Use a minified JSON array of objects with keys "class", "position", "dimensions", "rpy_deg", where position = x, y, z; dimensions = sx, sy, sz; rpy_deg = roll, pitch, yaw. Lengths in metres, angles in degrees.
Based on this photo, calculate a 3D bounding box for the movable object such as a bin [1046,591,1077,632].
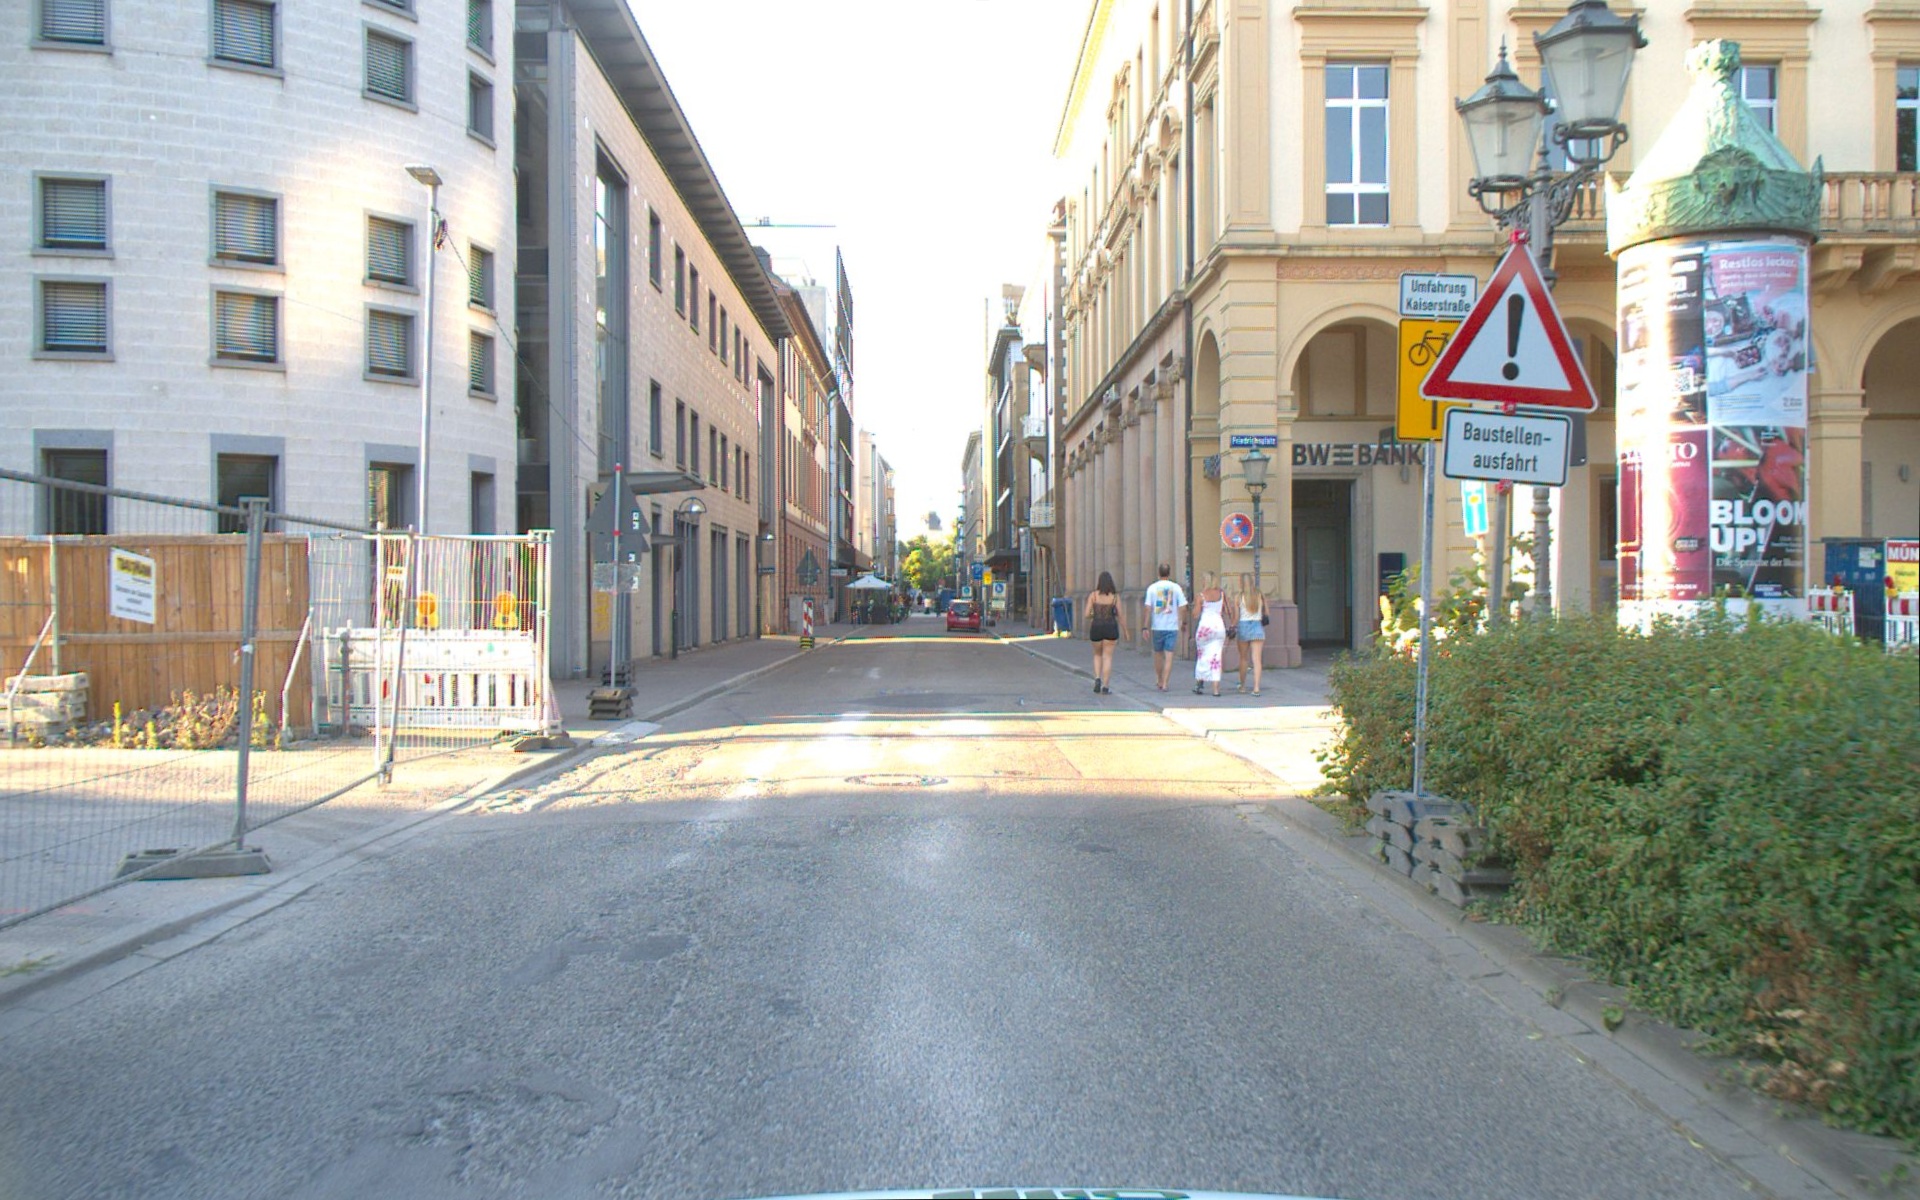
[{"class":"movable object such as a bin","position":[3.606,0.415,58.652],"dimensions":[0.970,1.416,1.240],"rpy_deg":[-1,0,-2]}]

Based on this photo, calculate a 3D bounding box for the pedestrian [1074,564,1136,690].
[{"class":"pedestrian","position":[2.094,0.388,23.959],"dimensions":[0.760,1.777,0.874],"rpy_deg":[-1,0,-2]}]

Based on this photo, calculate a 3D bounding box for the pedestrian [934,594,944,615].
[{"class":"pedestrian","position":[-1.746,0.390,136.190],"dimensions":[0.848,1.743,0.852],"rpy_deg":[0,0,-1]}]

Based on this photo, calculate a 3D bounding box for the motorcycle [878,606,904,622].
[{"class":"motorcycle","position":[-4.635,0.935,111.114],"dimensions":[1.766,1.059,0.493],"rpy_deg":[0,0,-6]}]

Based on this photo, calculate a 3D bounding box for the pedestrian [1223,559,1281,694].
[{"class":"pedestrian","position":[4.056,0.366,23.041],"dimensions":[0.623,1.835,0.771],"rpy_deg":[-1,0,-2]}]

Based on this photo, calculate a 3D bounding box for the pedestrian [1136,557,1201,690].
[{"class":"pedestrian","position":[3.057,0.345,24.335],"dimensions":[0.795,1.908,0.874],"rpy_deg":[-1,0,-2]}]

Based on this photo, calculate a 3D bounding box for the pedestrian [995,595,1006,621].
[{"class":"pedestrian","position":[2.398,0.471,97.545],"dimensions":[0.643,1.514,0.493],"rpy_deg":[-1,0,1]}]

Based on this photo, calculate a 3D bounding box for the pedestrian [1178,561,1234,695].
[{"class":"pedestrian","position":[3.416,0.383,23.012],"dimensions":[0.623,1.835,0.771],"rpy_deg":[-1,0,-2]}]

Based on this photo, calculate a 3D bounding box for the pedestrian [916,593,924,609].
[{"class":"pedestrian","position":[-4.216,0.080,174.463],"dimensions":[0.788,1.702,0.888],"rpy_deg":[0,0,1]}]

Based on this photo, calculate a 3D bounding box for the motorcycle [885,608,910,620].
[{"class":"motorcycle","position":[-4.519,1.019,119.298],"dimensions":[1.766,0.891,0.560],"rpy_deg":[0,0,-6]}]

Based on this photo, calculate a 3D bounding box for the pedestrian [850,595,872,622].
[{"class":"pedestrian","position":[-5.691,0.495,95.078],"dimensions":[1.265,1.514,0.661],"rpy_deg":[0,0,-3]}]

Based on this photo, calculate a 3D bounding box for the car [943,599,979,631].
[{"class":"car","position":[0.043,0.705,79.517],"dimensions":[1.616,1.452,3.535],"rpy_deg":[2,0,-1]}]

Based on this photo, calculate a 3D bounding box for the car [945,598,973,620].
[{"class":"car","position":[-0.087,0.699,128.818],"dimensions":[1.954,1.639,3.998],"rpy_deg":[0,0,-3]}]
